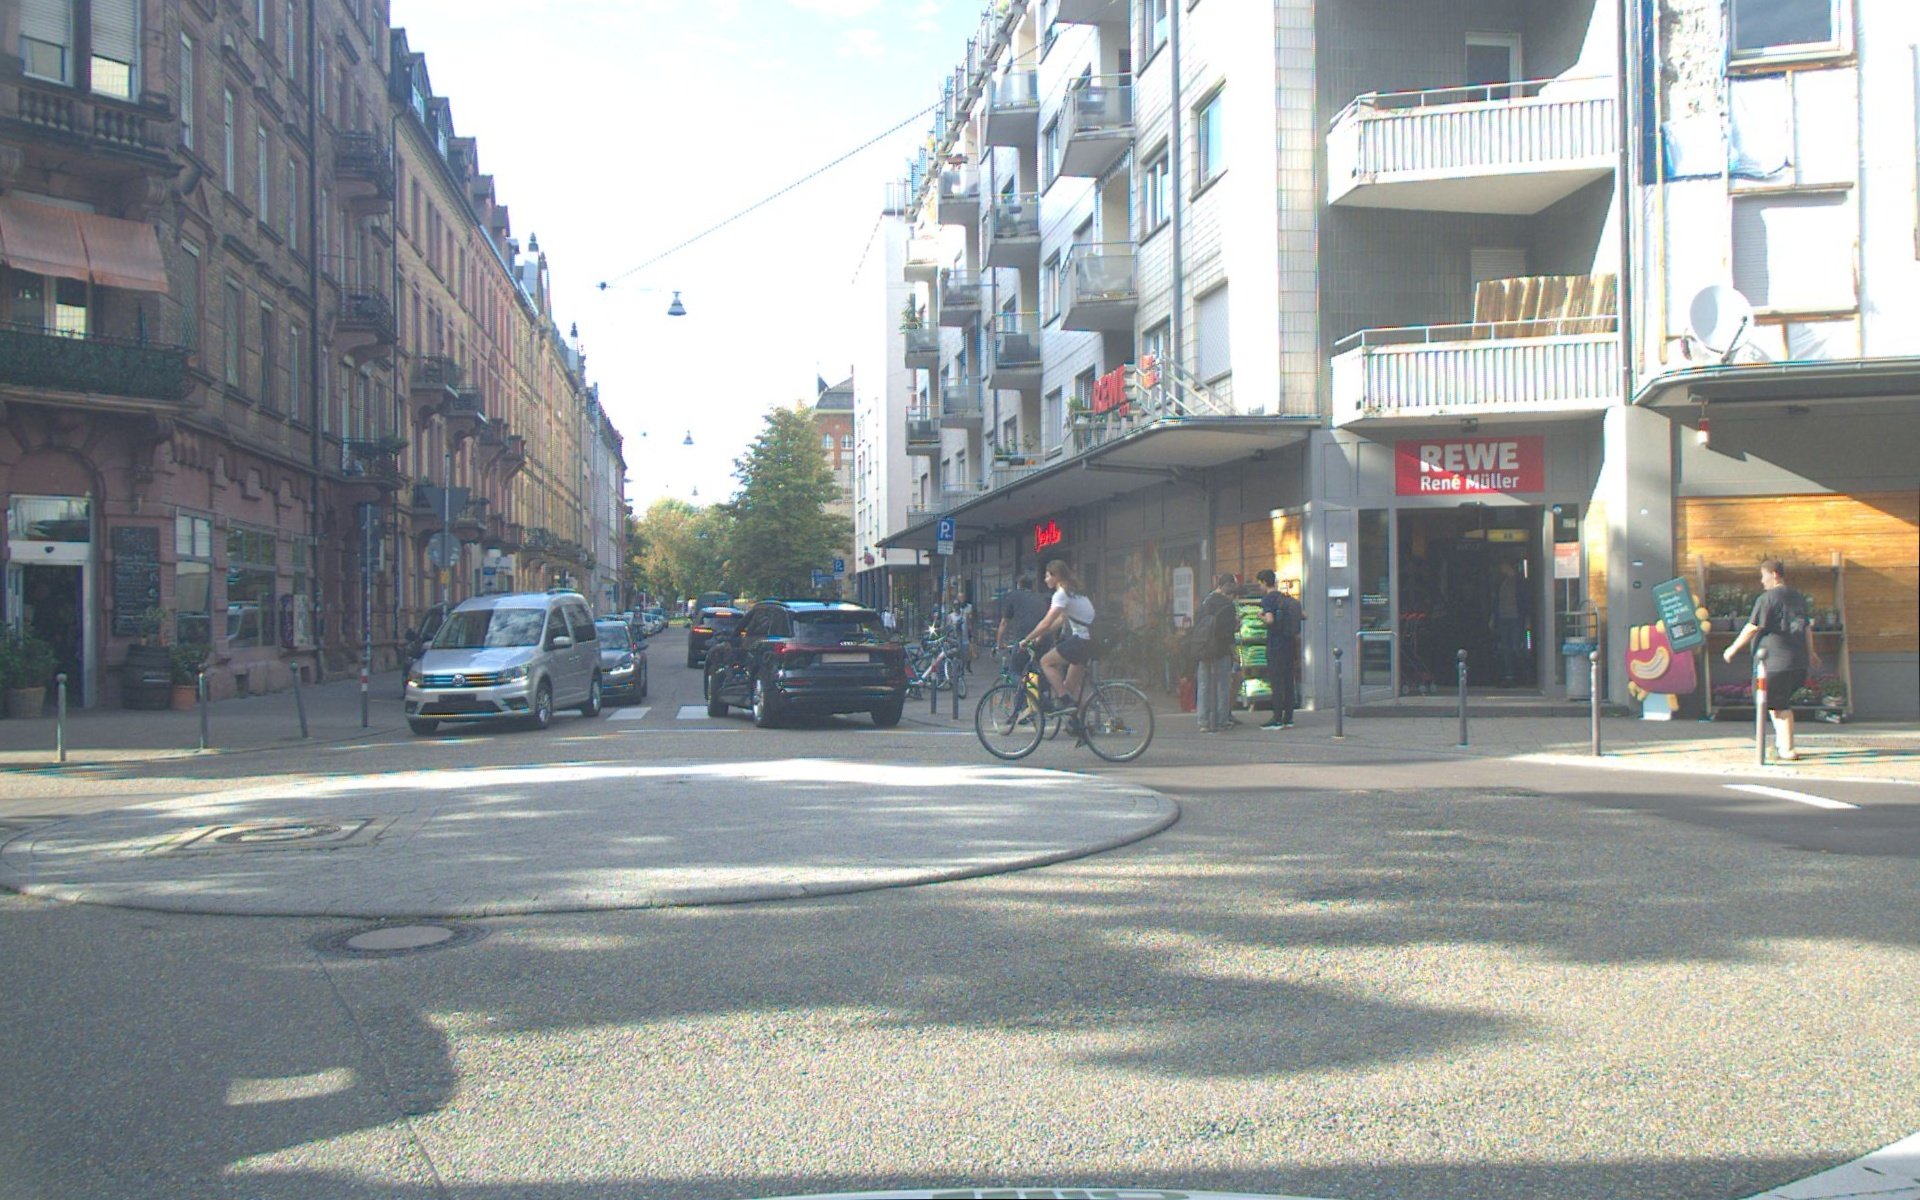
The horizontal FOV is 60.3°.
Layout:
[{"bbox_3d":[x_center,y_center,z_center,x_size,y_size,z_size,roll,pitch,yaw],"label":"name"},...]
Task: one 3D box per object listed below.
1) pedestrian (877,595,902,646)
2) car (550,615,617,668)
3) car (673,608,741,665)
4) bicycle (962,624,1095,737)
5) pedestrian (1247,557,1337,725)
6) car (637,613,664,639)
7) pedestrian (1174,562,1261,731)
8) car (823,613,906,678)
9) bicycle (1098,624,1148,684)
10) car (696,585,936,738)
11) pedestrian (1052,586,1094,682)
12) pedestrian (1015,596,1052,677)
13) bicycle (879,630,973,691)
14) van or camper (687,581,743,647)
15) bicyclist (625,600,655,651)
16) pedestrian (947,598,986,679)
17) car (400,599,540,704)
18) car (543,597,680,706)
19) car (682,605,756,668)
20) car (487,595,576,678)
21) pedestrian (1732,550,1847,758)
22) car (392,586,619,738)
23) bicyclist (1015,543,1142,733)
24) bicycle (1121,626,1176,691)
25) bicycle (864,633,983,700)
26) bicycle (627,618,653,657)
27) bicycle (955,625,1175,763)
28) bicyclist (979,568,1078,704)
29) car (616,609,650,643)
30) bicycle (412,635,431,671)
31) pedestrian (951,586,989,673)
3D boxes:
[{"bbox_3d":[-2.840,0.831,66.646,0.883,2.049,0.733,-1,0,-8],"label":"pedestrian"},{"bbox_3d":[-14.131,1.532,62.287,1.891,1.754,4.282,-2,1,-6],"label":"car"},{"bbox_3d":[-7.668,1.070,50.404,1.775,1.513,4.157,-2,1,-6],"label":"car"},{"bbox_3d":[0.744,0.881,19.048,0.656,1.199,2.483,1,-1,-19],"label":"bicycle"},{"bbox_3d":[3.791,0.462,18.922,0.851,1.883,0.612,-1,-1,-4],"label":"pedestrian"},{"bbox_3d":[-24.514,2.050,131.247,1.957,2.049,3.991,-1,0,-9],"label":"car"},{"bbox_3d":[2.932,0.526,18.884,0.851,1.883,0.612,-1,-1,-4],"label":"pedestrian"},{"bbox_3d":[-2.250,1.012,38.243,1.614,1.347,3.570,-3,0,-7],"label":"car"},{"bbox_3d":[2.898,0.954,29.559,0.354,1.016,1.710,-1,0,-13],"label":"bicycle"},{"bbox_3d":[-2.099,0.716,22.542,2.007,1.754,4.816,-2,1,-20],"label":"car"},{"bbox_3d":[2.069,0.619,30.434,0.725,1.742,0.734,-1,-1,2],"label":"pedestrian"},{"bbox_3d":[1.528,0.751,34.370,0.729,1.657,0.812,-1,-1,2],"label":"pedestrian"},{"bbox_3d":[-0.612,1.103,30.495,0.669,1.045,1.778,-1,0,43],"label":"bicycle"},{"bbox_3d":[-12.066,0.684,81.207,2.486,3.090,4.447,-1,0,-11],"label":"van or camper"},{"bbox_3d":[-13.121,1.047,67.781,1.113,2.033,1.024,2,-1,-13],"label":"bicyclist"},{"bbox_3d":[0.139,0.785,34.293,0.715,1.639,0.790,-1,0,6],"label":"pedestrian"},{"bbox_3d":[-9.249,0.917,31.539,1.748,1.754,4.439,1,1,-6],"label":"car"},{"bbox_3d":[-6.244,0.875,30.116,1.891,1.755,4.729,-2,0,-6],"label":"car"},{"bbox_3d":[-6.802,0.994,46.577,1.957,1.646,3.991,-1,0,-9],"label":"car"},{"bbox_3d":[-11.258,0.925,43.660,1.958,2.049,3.989,-1,0,-11],"label":"car"},{"bbox_3d":[7.291,0.465,14.569,0.615,1.769,0.776,-1,-1,3],"label":"pedestrian"},{"bbox_3d":[-6.144,0.777,22.942,1.756,1.822,4.736,-2,0,0],"label":"car"},{"bbox_3d":[1.111,0.346,15.370,0.991,1.697,0.944,-1,-1,15],"label":"bicyclist"},{"bbox_3d":[3.096,0.951,27.207,0.357,1.034,1.424,-1,0,-16],"label":"bicycle"},{"bbox_3d":[-0.618,1.108,27.911,1.962,1.063,0.531,-1,0,-7],"label":"bicycle"},{"bbox_3d":[-13.112,1.512,67.734,0.909,1.515,3.452,2,-1,-13],"label":"bicycle"},{"bbox_3d":[0.984,0.862,15.394,1.927,1.220,0.712,-1,-1,15],"label":"bicycle"},{"bbox_3d":[0.783,0.410,18.976,0.919,1.510,0.743,1,-1,-20],"label":"bicyclist"},{"bbox_3d":[-20.572,1.623,104.210,1.957,2.049,3.991,-1,0,-9],"label":"car"},{"bbox_3d":[-14.962,1.454,46.007,0.354,0.963,1.710,0,-1,-13],"label":"bicycle"},{"bbox_3d":[0.230,0.642,36.702,0.715,1.897,1.063,-1,0,6],"label":"pedestrian"}]
